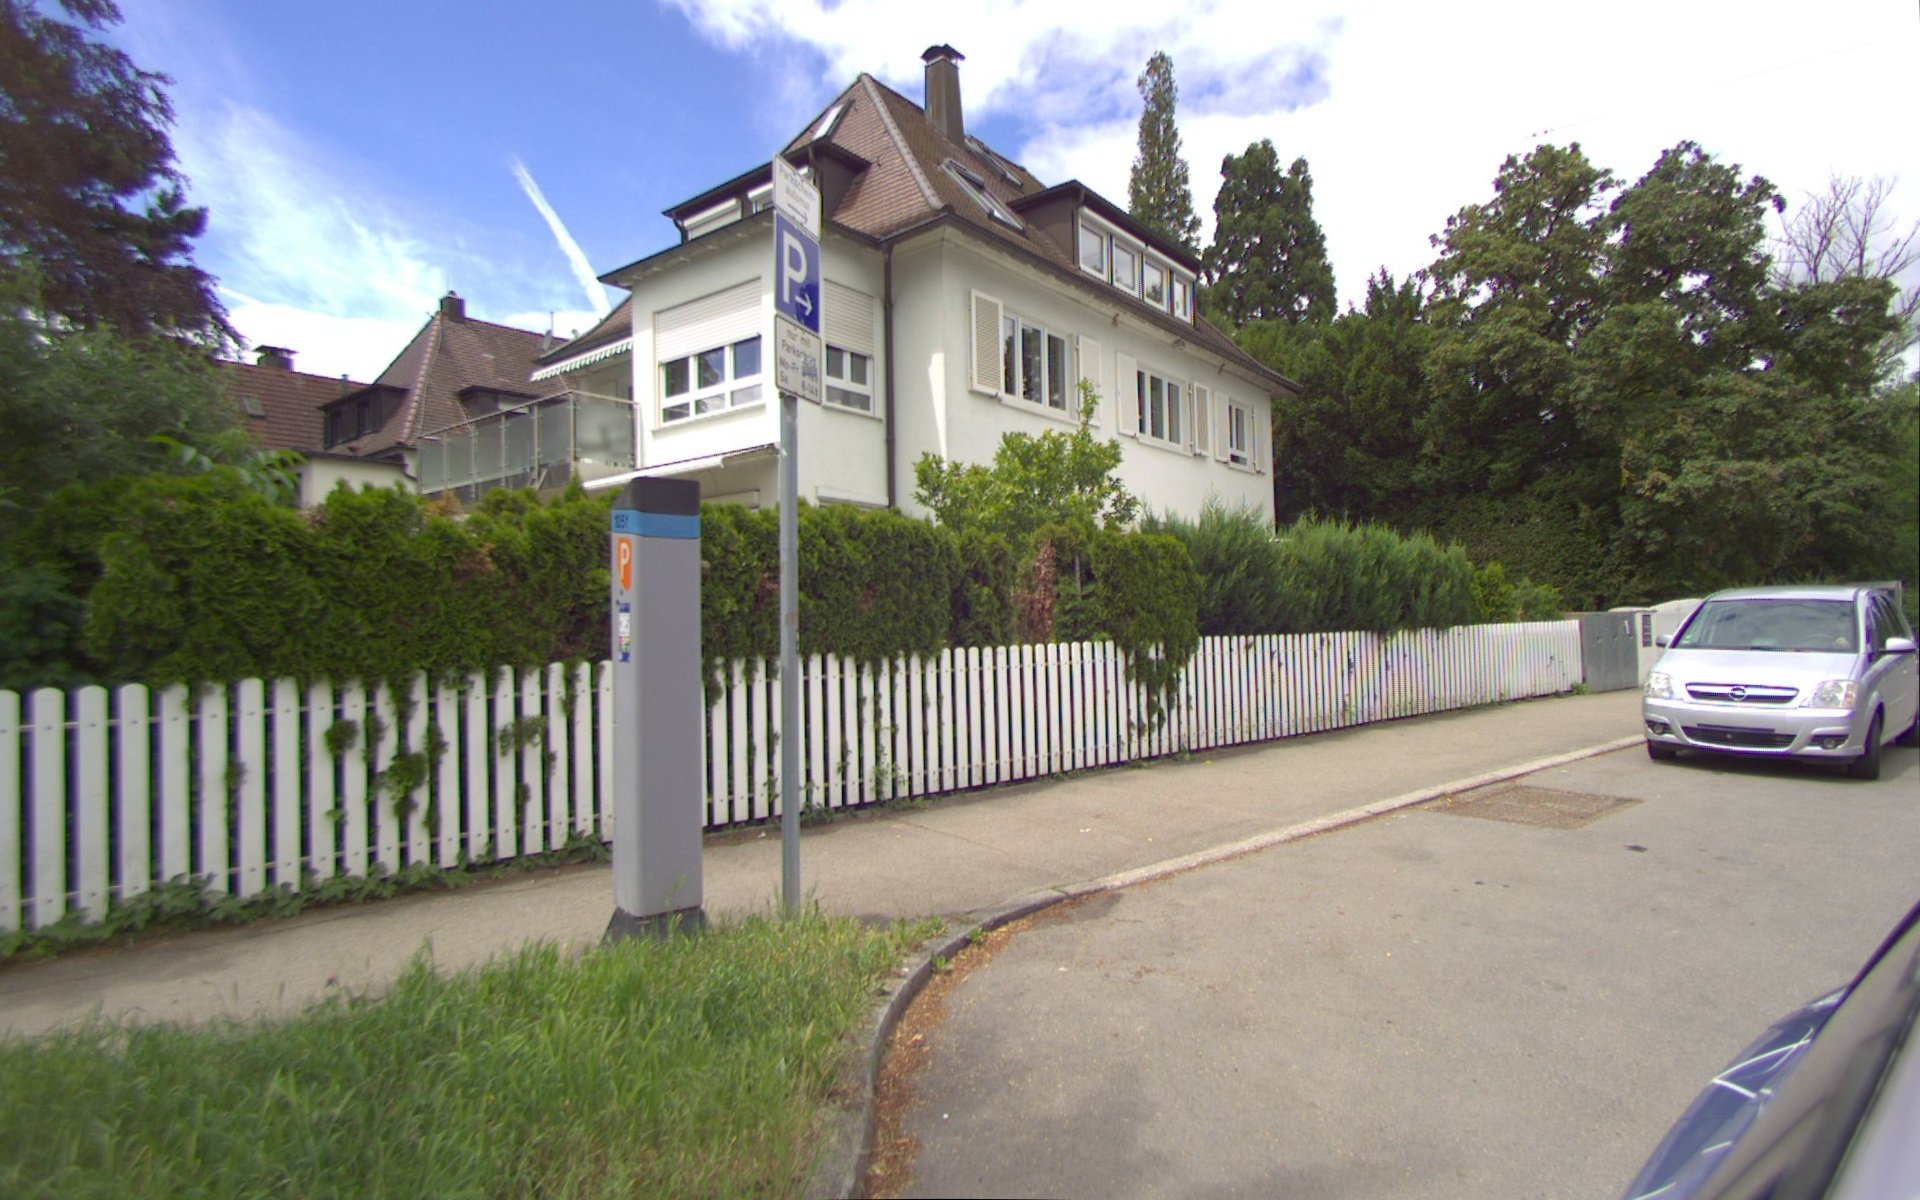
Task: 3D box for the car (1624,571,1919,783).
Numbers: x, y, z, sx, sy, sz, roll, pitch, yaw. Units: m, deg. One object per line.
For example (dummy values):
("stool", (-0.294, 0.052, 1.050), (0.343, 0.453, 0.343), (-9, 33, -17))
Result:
("car", (7.979, 0.550, 9.608), (3.948, 1.602, 1.762), (-1, 1, -40))
